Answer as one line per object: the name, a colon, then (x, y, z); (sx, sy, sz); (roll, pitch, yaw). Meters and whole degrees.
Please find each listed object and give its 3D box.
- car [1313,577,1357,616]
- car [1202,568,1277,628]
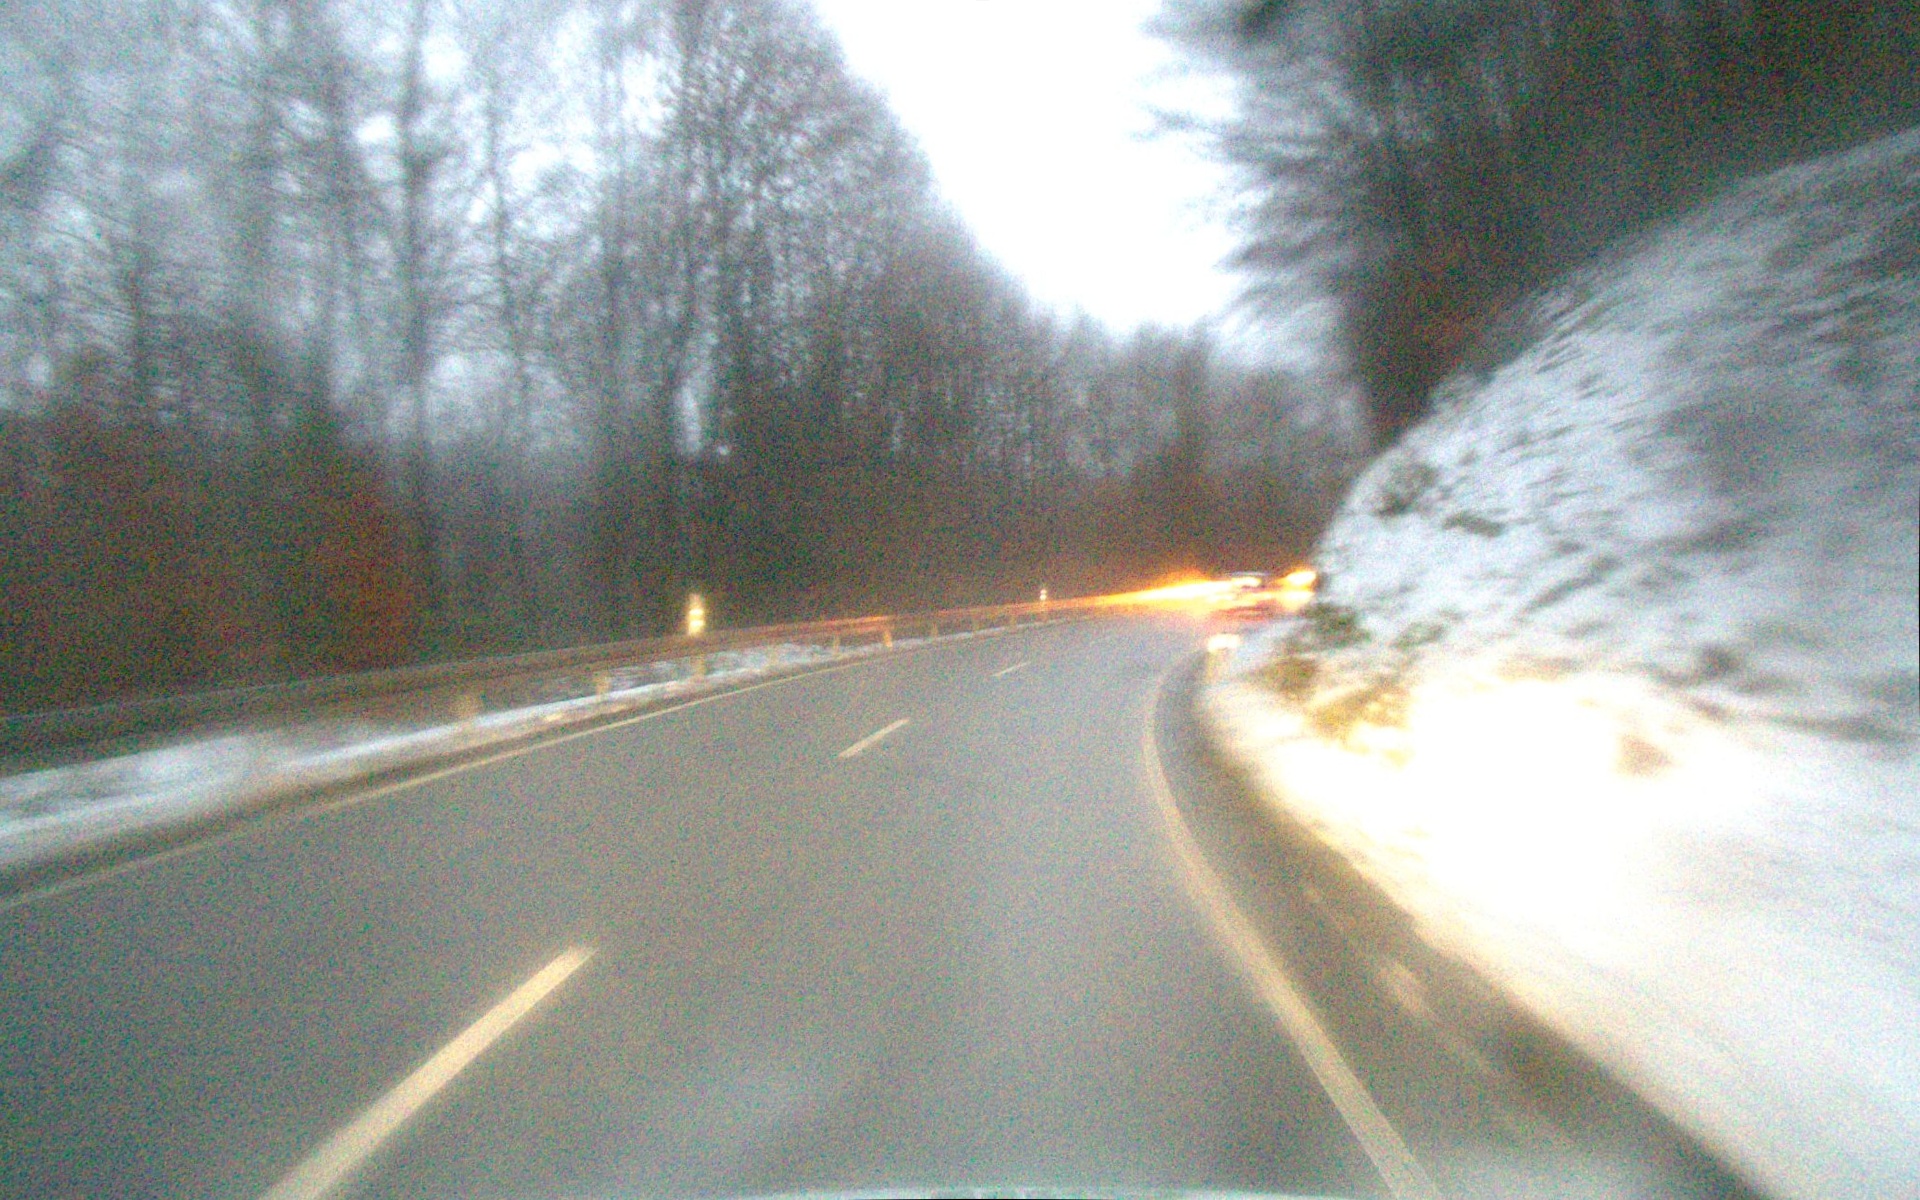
car: (20.614, -0.177, 90.825); (1.829, 1.952, 4.000); (2, -1, 21)
car: (9.266, -0.054, 54.582); (1.951, 1.905, 4.002); (0, -1, 17)
